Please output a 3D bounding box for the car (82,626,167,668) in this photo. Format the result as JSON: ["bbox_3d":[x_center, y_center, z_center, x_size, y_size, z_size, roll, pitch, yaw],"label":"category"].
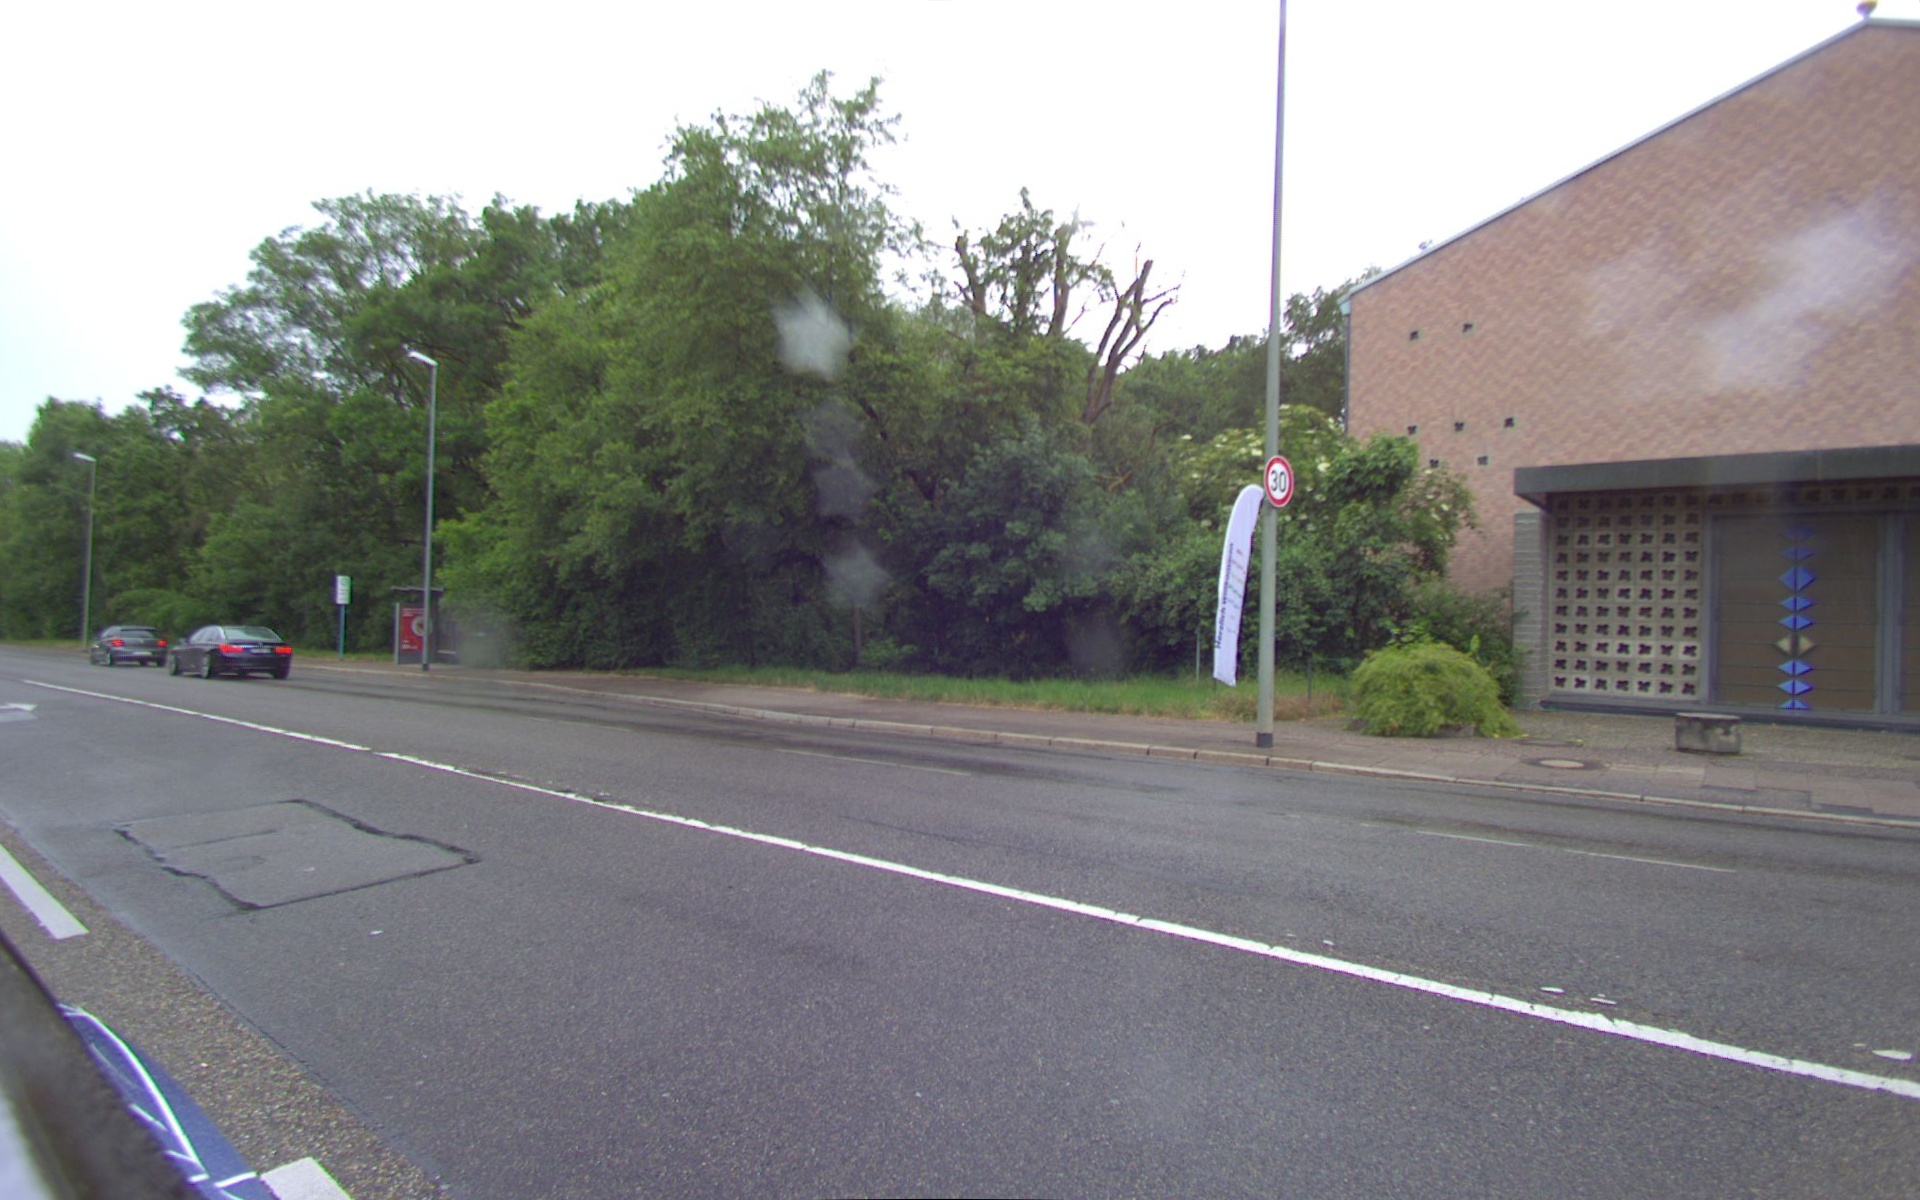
[{"bbox_3d":[-30.201,1.688,36.561,3.901,1.440,1.578,-1,-3,39],"label":"car"}]

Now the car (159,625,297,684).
[{"bbox_3d":[-20.738,1.525,28.588,4.944,1.465,1.891,-1,-5,40],"label":"car"}]
